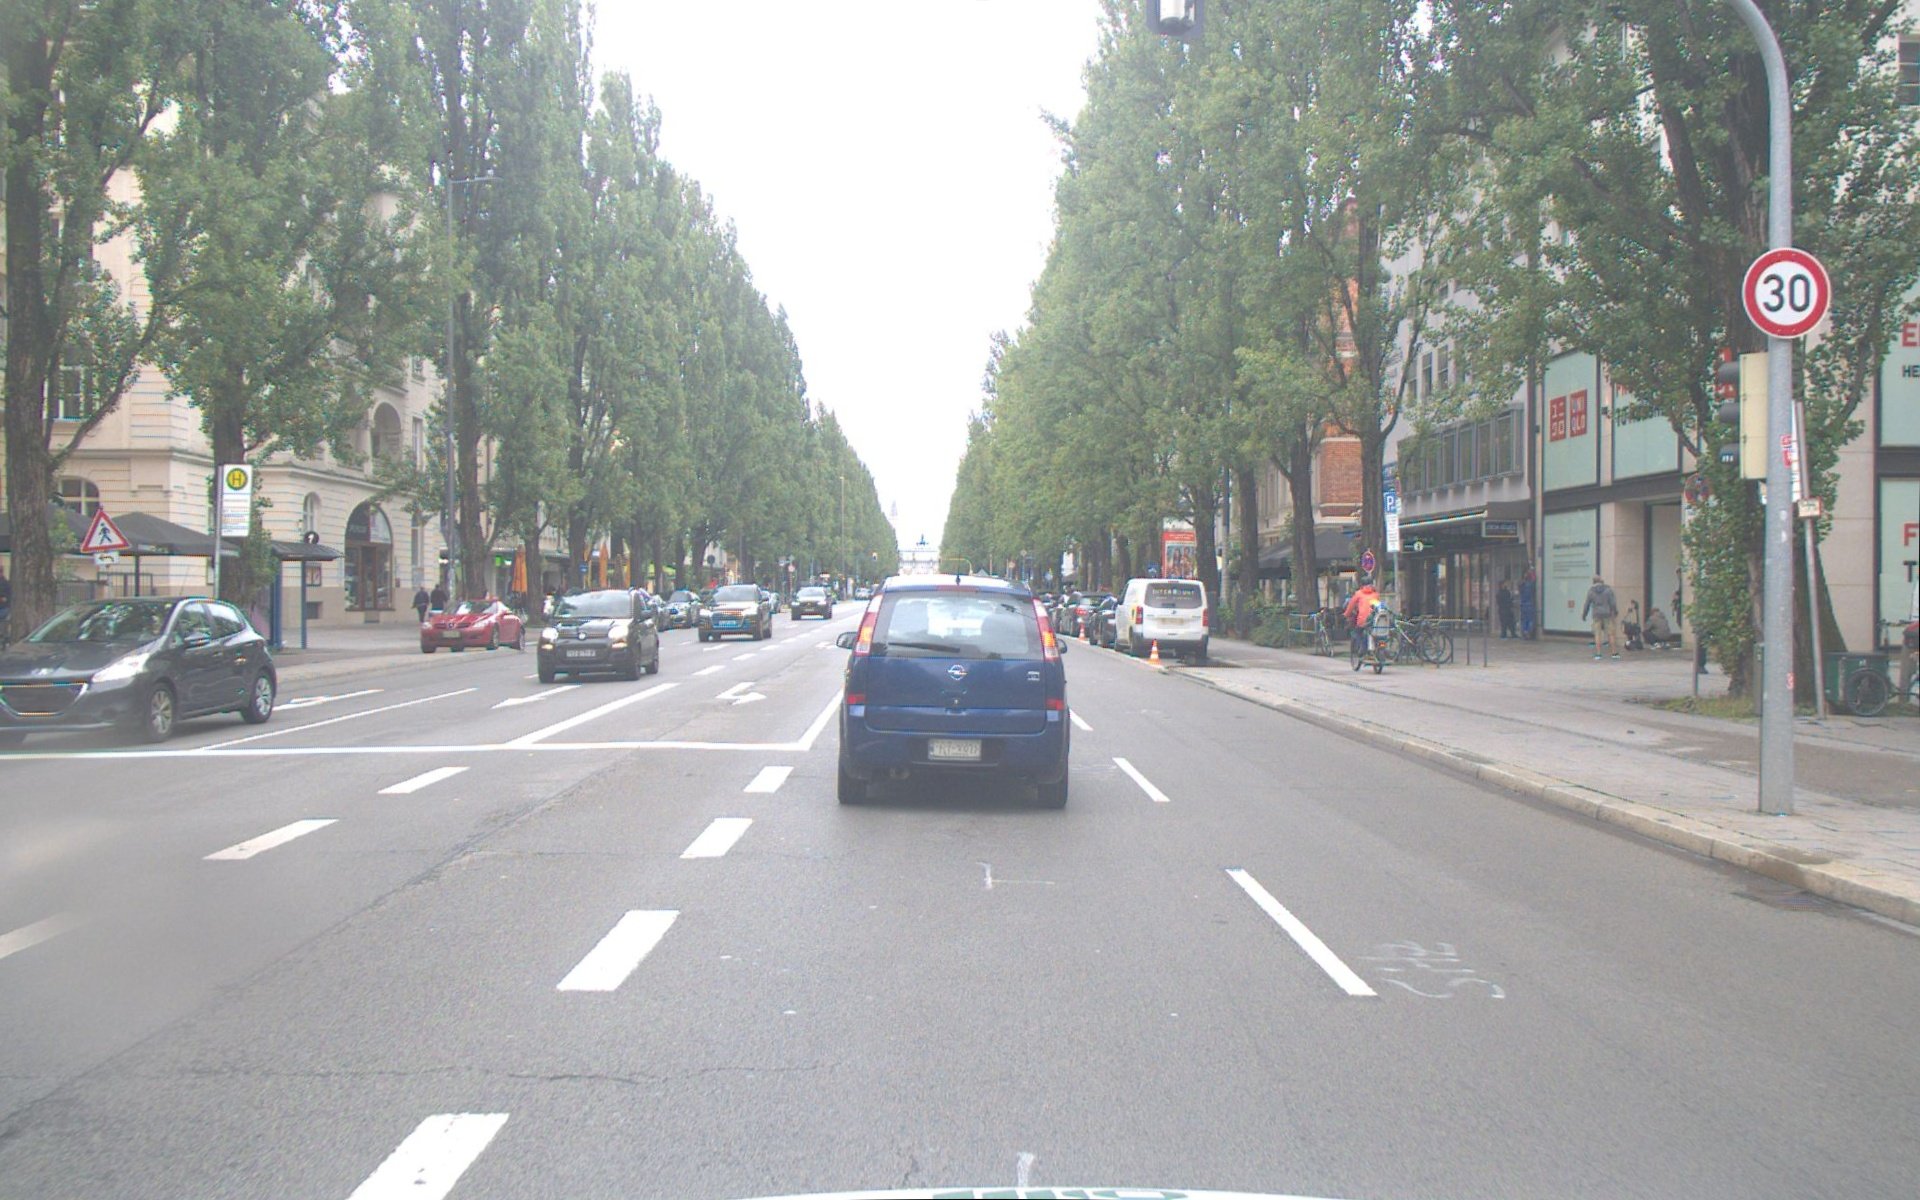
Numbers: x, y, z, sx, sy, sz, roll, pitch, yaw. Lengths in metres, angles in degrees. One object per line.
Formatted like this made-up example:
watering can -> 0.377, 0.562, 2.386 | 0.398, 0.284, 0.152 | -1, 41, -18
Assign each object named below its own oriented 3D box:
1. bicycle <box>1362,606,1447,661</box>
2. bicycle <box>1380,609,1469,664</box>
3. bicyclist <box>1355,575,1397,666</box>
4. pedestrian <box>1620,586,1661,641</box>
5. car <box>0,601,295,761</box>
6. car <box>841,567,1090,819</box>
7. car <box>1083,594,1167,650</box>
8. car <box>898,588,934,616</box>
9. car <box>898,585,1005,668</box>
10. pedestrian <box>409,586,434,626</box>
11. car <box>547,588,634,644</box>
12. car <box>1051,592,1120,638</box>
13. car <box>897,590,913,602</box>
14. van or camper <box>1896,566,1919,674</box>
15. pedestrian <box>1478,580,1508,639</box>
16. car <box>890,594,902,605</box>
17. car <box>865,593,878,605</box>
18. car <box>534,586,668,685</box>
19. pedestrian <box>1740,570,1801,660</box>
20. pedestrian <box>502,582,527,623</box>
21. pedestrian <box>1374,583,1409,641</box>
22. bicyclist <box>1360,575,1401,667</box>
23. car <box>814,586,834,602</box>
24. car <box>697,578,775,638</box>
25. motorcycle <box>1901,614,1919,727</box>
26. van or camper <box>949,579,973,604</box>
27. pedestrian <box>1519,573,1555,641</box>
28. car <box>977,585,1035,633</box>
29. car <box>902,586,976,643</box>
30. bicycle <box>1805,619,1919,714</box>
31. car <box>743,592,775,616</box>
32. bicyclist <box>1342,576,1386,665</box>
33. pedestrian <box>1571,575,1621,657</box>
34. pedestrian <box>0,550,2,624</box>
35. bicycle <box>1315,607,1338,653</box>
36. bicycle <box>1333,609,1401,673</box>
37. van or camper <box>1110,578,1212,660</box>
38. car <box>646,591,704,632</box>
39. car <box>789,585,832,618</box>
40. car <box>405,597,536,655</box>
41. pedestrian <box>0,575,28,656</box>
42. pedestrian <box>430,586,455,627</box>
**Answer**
bicycle -> 9.310, 0.691, 34.661 | 1.707, 1.130, 0.447 | 0, 0, -12
bicycle -> 9.541, 0.746, 33.951 | 1.727, 1.062, 0.482 | -1, 0, -12
bicyclist -> 7.497, 0.370, 29.830 | 0.609, 1.616, 0.481 | 0, 0, -2
pedestrian -> 15.757, 0.307, 38.317 | 0.656, 1.255, 0.684 | -1, 1, 0
car -> -8.672, 0.769, 17.672 | 1.609, 1.464, 3.995 | -1, 0, -2
car -> -0.037, 0.607, 13.046 | 1.647, 1.670, 3.998 | 1, 0, -2
car -> 4.639, 0.586, 47.000 | 1.685, 1.467, 4.351 | 2, 0, -3
car -> -2.445, 0.095, 91.458 | 1.953, 1.523, 3.998 | 0, 0, -2
car -> -0.228, 0.471, 32.448 | 1.953, 1.523, 3.998 | 0, 0, -2
pedestrian -> -21.147, 0.237, 64.943 | 0.753, 1.564, 0.804 | 0, 0, -2
car -> -11.869, 0.484, 53.456 | 1.783, 1.646, 4.716 | 0, 1, 0
car -> 4.365, 0.489, 57.957 | 1.781, 1.532, 4.228 | 0, 0, -5
car -> -6.709, -0.531, 200.355 | 1.922, 1.424, 3.777 | 0, 0, -2
van or camper -> 18.882, 0.402, 28.852 | 4.019, 1.899, 1.898 | 1, 0, 2
pedestrian -> 15.063, 0.265, 46.730 | 0.656, 1.637, 0.772 | 0, 0, 6
car -> -9.789, -0.074, 252.040 | 1.798, 1.706, 3.777 | 0, 0, -2
car -> -13.596, -0.108, 254.236 | 1.798, 1.769, 3.777 | 0, 0, -2
car -> -5.962, 0.547, 27.802 | 1.530, 1.522, 3.693 | -1, 0, -2
pedestrian -> 15.974, 0.287, 32.618 | 0.735, 1.748, 0.962 | 0, 0, -1
pedestrian -> -19.776, 0.106, 73.432 | 0.834, 1.775, 1.148 | 0, 0, -1
pedestrian -> 13.941, 0.383, 53.475 | 0.809, 1.873, 1.099 | 0, 0, -1
bicyclist -> 7.502, 0.370, 29.504 | 0.609, 1.616, 0.391 | 0, 0, -2
car -> -14.802, -0.614, 179.685 | 1.953, 1.691, 3.998 | 0, 0, -2
car -> -6.713, 0.217, 49.991 | 1.874, 1.710, 4.585 | 0, 0, -2
motorcycle -> 10.796, 0.730, 17.250 | 1.689, 1.159, 0.510 | 0, 0, 0
van or camper -> 0.099, -0.902, 177.972 | 2.426, 2.626, 5.843 | 0, 0, -1
pedestrian -> 15.949, 0.184, 45.717 | 0.852, 1.861, 0.835 | 0, 0, 26
car -> 1.548, 0.287, 57.113 | 1.672, 1.601, 3.997 | 0, 0, -4
car -> -0.630, 0.367, 45.805 | 1.953, 1.523, 3.998 | 0, 0, -2
bicycle -> 10.813, 0.737, 18.682 | 2.105, 1.035, 0.874 | 0, 0, -2
car -> -13.107, 0.242, 108.054 | 1.798, 1.573, 4.084 | 0, 0, -3
bicyclist -> 7.467, 0.371, 30.582 | 0.609, 1.616, 0.752 | 0, 0, -2
pedestrian -> 13.501, 0.332, 35.106 | 0.808, 1.703, 0.984 | 0, 0, 33
pedestrian -> -23.630, -0.307, 39.616 | 0.887, 1.774, 0.821 | 0, 0, 4
bicycle -> 8.789, 0.718, 39.734 | 0.357, 1.056, 1.732 | 0, 0, 6
bicycle -> 7.477, 0.734, 30.441 | 0.614, 1.106, 2.263 | 0, 0, -2
van or camper -> 4.978, 0.437, 41.525 | 1.831, 1.916, 4.901 | 1, 0, -2
car -> -11.832, 0.448, 68.955 | 1.746, 1.603, 4.131 | -2, 0, -2
car -> -7.652, 0.083, 85.012 | 1.896, 1.652, 4.335 | 0, 0, -2
car -> -11.848, 0.597, 40.307 | 1.840, 1.321, 4.096 | 0, 0, 2
pedestrian -> -21.375, 0.323, 36.691 | 0.887, 1.774, 0.820 | 1, 0, 4
pedestrian -> -20.289, 0.251, 64.869 | 0.753, 1.564, 0.804 | 0, 0, -2
